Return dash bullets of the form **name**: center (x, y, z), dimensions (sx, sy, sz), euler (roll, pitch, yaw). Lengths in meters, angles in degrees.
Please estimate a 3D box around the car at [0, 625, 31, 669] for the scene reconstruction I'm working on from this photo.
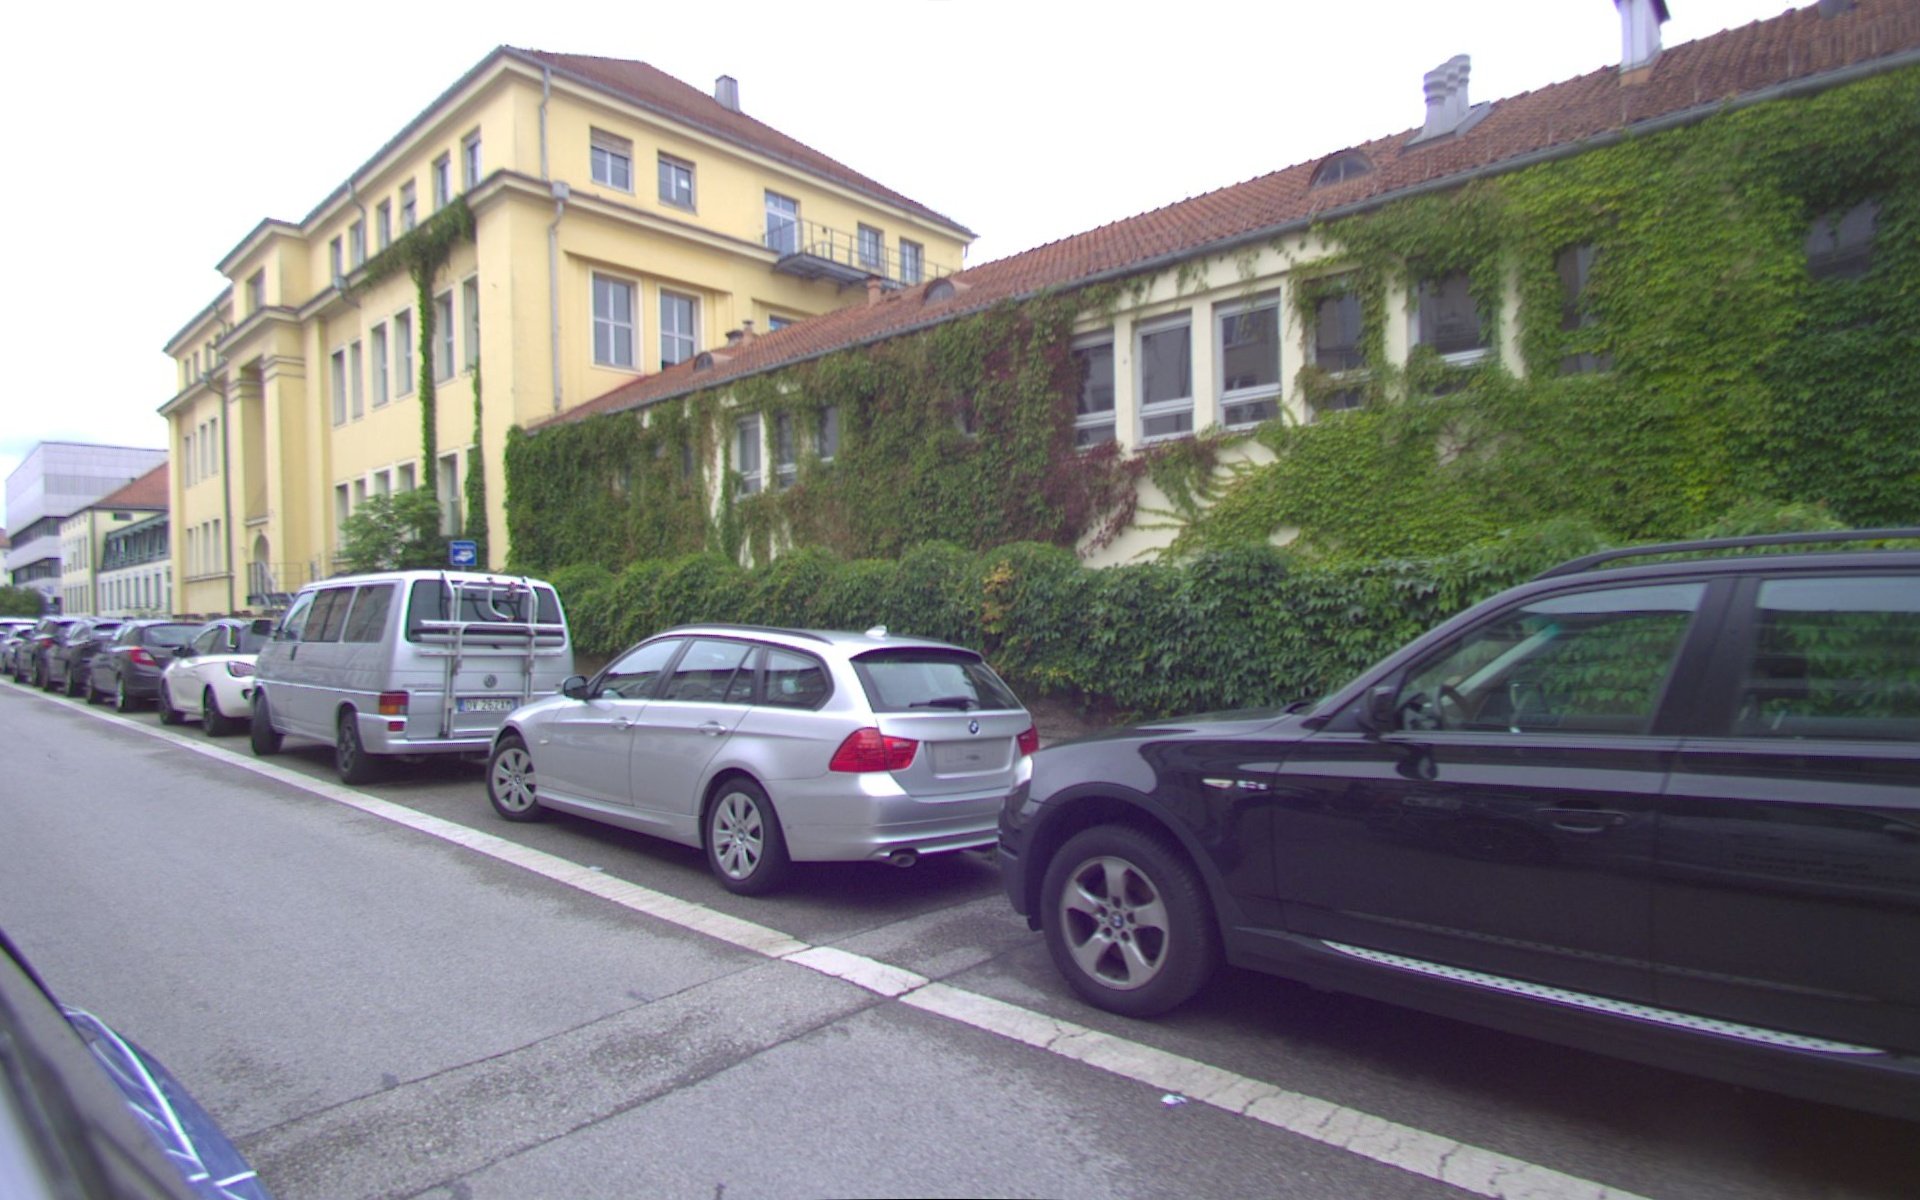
- **car**: center (-35.057, 1.663, 36.554), dimensions (3.969, 1.516, 1.663), euler (-1, -1, 39)

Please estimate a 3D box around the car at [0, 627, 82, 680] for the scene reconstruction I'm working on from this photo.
- **car**: center (-27.145, 1.544, 29.563), dimensions (3.892, 1.437, 1.662), euler (-1, -5, 41)

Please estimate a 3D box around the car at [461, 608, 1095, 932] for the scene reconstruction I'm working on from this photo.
- **car**: center (-1.443, 0.824, 6.620), dimensions (4.423, 1.433, 1.683), euler (-1, -4, 42)

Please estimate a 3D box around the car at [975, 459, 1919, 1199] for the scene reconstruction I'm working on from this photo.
- **car**: center (2.269, 0.607, 3.213), dimensions (4.422, 1.743, 1.603), euler (-1, -4, 41)

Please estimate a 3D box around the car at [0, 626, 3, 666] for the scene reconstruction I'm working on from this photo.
- **car**: center (-38.735, 1.756, 39.442), dimensions (3.984, 1.507, 1.662), euler (-2, -4, 41)

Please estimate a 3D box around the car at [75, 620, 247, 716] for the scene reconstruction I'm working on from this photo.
- **car**: center (-13.682, 1.091, 17.261), dimensions (3.902, 1.467, 1.562), euler (-1, -3, 41)

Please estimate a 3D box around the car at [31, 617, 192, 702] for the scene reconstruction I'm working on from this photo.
- **car**: center (-17.251, 1.147, 20.523), dimensions (4.145, 1.550, 1.764), euler (-1, -3, 40)

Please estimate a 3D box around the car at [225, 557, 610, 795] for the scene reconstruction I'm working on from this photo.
- **car**: center (-5.732, 0.697, 10.400), dimensions (4.757, 1.890, 1.972), euler (-2, -4, 43)

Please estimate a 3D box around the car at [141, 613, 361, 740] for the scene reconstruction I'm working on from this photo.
- **car**: center (-9.784, 0.972, 13.875), dimensions (3.728, 1.504, 1.562), euler (-1, -3, 41)

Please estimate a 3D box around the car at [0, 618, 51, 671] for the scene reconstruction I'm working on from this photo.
- **car**: center (-31.332, 1.421, 33.129), dimensions (4.352, 1.646, 1.663), euler (-1, 0, 39)

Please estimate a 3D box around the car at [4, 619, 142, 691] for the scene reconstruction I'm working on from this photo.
- **car**: center (-20.997, 1.275, 23.903), dimensions (4.191, 1.550, 1.764), euler (-2, -4, 40)
